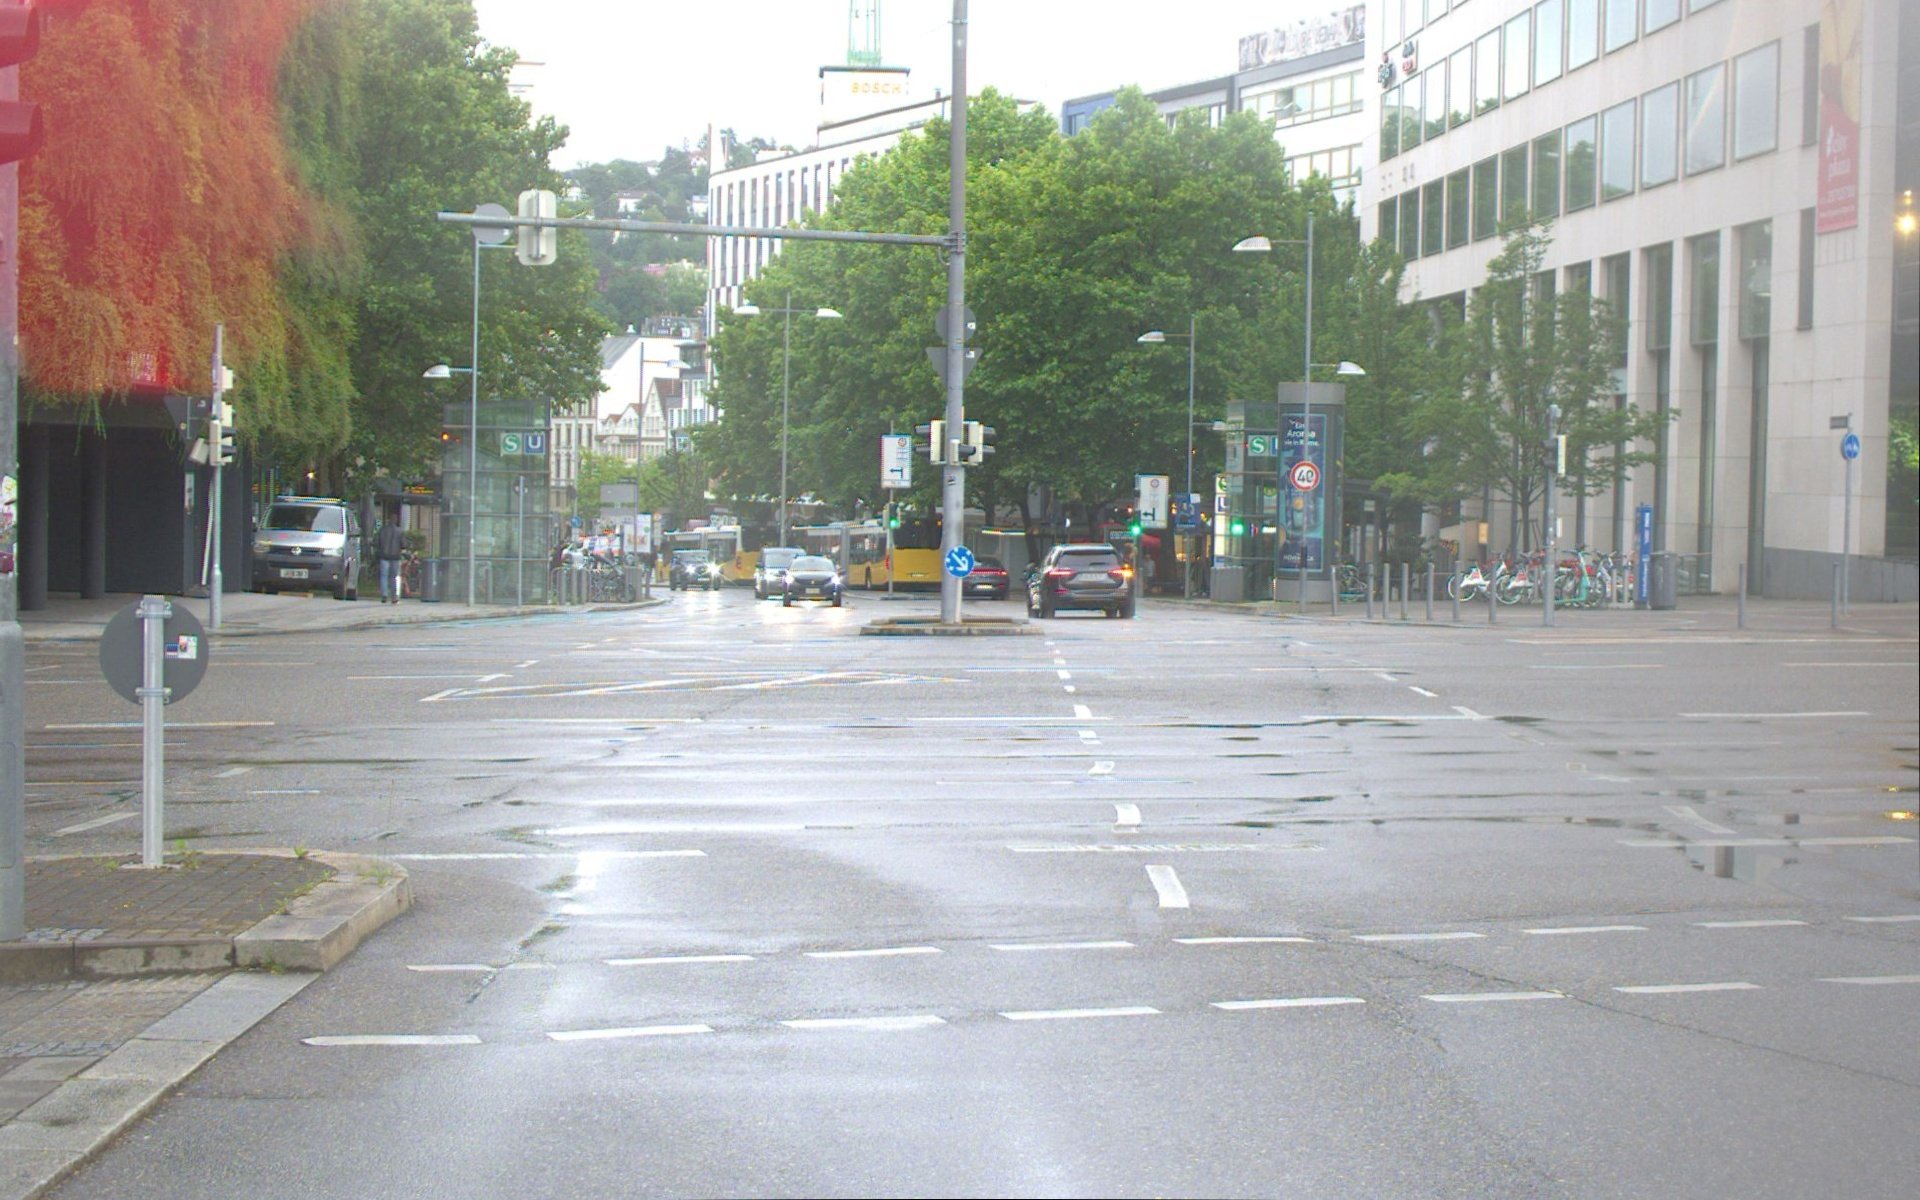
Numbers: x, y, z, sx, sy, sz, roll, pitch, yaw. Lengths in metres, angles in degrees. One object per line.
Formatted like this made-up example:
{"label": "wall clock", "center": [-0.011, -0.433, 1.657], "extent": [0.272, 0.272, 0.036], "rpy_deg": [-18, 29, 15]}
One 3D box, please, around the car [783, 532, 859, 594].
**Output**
{"label": "car", "center": [-4.160, -1.098, 102.266], "extent": [2.164, 1.759, 5.112], "rpy_deg": [1, 1, -3]}

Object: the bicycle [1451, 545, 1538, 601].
{"label": "bicycle", "center": [11.552, -0.586, 74.328], "extent": [1.777, 1.190, 0.586], "rpy_deg": [1, 0, 2]}

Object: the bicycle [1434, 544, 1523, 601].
{"label": "bicycle", "center": [10.976, -0.579, 72.776], "extent": [1.777, 1.190, 0.586], "rpy_deg": [1, 0, 2]}

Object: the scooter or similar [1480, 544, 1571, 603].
{"label": "scooter or similar", "center": [11.669, -0.552, 70.984], "extent": [1.777, 1.190, 0.586], "rpy_deg": [1, 0, 2]}

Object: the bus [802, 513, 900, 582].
{"label": "bus", "center": [-4.917, -2.350, 153.088], "extent": [2.627, 2.985, 7.451], "rpy_deg": [0, 1, -16]}

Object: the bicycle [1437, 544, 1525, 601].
{"label": "bicycle", "center": [11.124, -0.583, 73.410], "extent": [1.777, 1.190, 0.586], "rpy_deg": [1, 0, 2]}

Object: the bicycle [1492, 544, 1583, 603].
{"label": "bicycle", "center": [12.023, -0.553, 71.607], "extent": [1.777, 1.190, 0.586], "rpy_deg": [1, 0, 2]}

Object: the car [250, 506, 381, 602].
{"label": "car", "center": [-12.777, -0.905, 68.331], "extent": [1.870, 1.833, 4.000], "rpy_deg": [1, 1, -1]}

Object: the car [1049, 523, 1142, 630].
{"label": "car", "center": [2.705, -0.466, 67.723], "extent": [1.544, 2.007, 4.667], "rpy_deg": [1, 1, 5]}

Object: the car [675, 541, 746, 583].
{"label": "car", "center": [-10.693, -1.634, 147.108], "extent": [2.163, 1.759, 5.113], "rpy_deg": [1, 1, -14]}

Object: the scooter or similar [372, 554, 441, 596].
{"label": "scooter or similar", "center": [-13.285, -0.599, 82.547], "extent": [0.623, 1.001, 1.657], "rpy_deg": [1, 1, 38]}

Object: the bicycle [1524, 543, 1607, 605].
{"label": "bicycle", "center": [11.692, -0.506, 66.397], "extent": [0.584, 1.190, 1.784], "rpy_deg": [1, 1, -28]}

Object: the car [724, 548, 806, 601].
{"label": "car", "center": [-6.753, -0.902, 118.626], "extent": [2.163, 1.759, 4.832], "rpy_deg": [-1, 1, -11]}

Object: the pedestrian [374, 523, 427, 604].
{"label": "pedestrian", "center": [-11.365, -0.740, 69.894], "extent": [0.933, 1.638, 0.774], "rpy_deg": [1, 0, -1]}

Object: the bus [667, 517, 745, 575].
{"label": "bus", "center": [-13.374, -2.859, 180.329], "extent": [2.627, 2.985, 7.451], "rpy_deg": [0, 1, -16]}

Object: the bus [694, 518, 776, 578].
{"label": "bus", "center": [-11.359, -2.643, 173.233], "extent": [2.627, 2.985, 7.330], "rpy_deg": [0, 1, -16]}

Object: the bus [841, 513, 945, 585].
{"label": "bus", "center": [-2.903, -2.200, 145.942], "extent": [2.627, 2.985, 7.451], "rpy_deg": [0, 1, -16]}

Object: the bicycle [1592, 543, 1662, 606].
{"label": "bicycle", "center": [12.995, -0.493, 66.955], "extent": [0.586, 1.190, 1.779], "rpy_deg": [1, 1, 38]}

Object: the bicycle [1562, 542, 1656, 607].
{"label": "bicycle", "center": [12.235, -0.483, 64.845], "extent": [1.624, 1.190, 0.586], "rpy_deg": [1, 0, 26]}

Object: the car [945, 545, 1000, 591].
{"label": "car", "center": [0.424, -1.091, 116.540], "extent": [1.781, 1.503, 4.000], "rpy_deg": [1, 1, -1]}

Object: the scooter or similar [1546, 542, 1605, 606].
{"label": "scooter or similar", "center": [11.481, -0.486, 64.160], "extent": [0.963, 1.190, 0.454], "rpy_deg": [1, 1, 40]}
